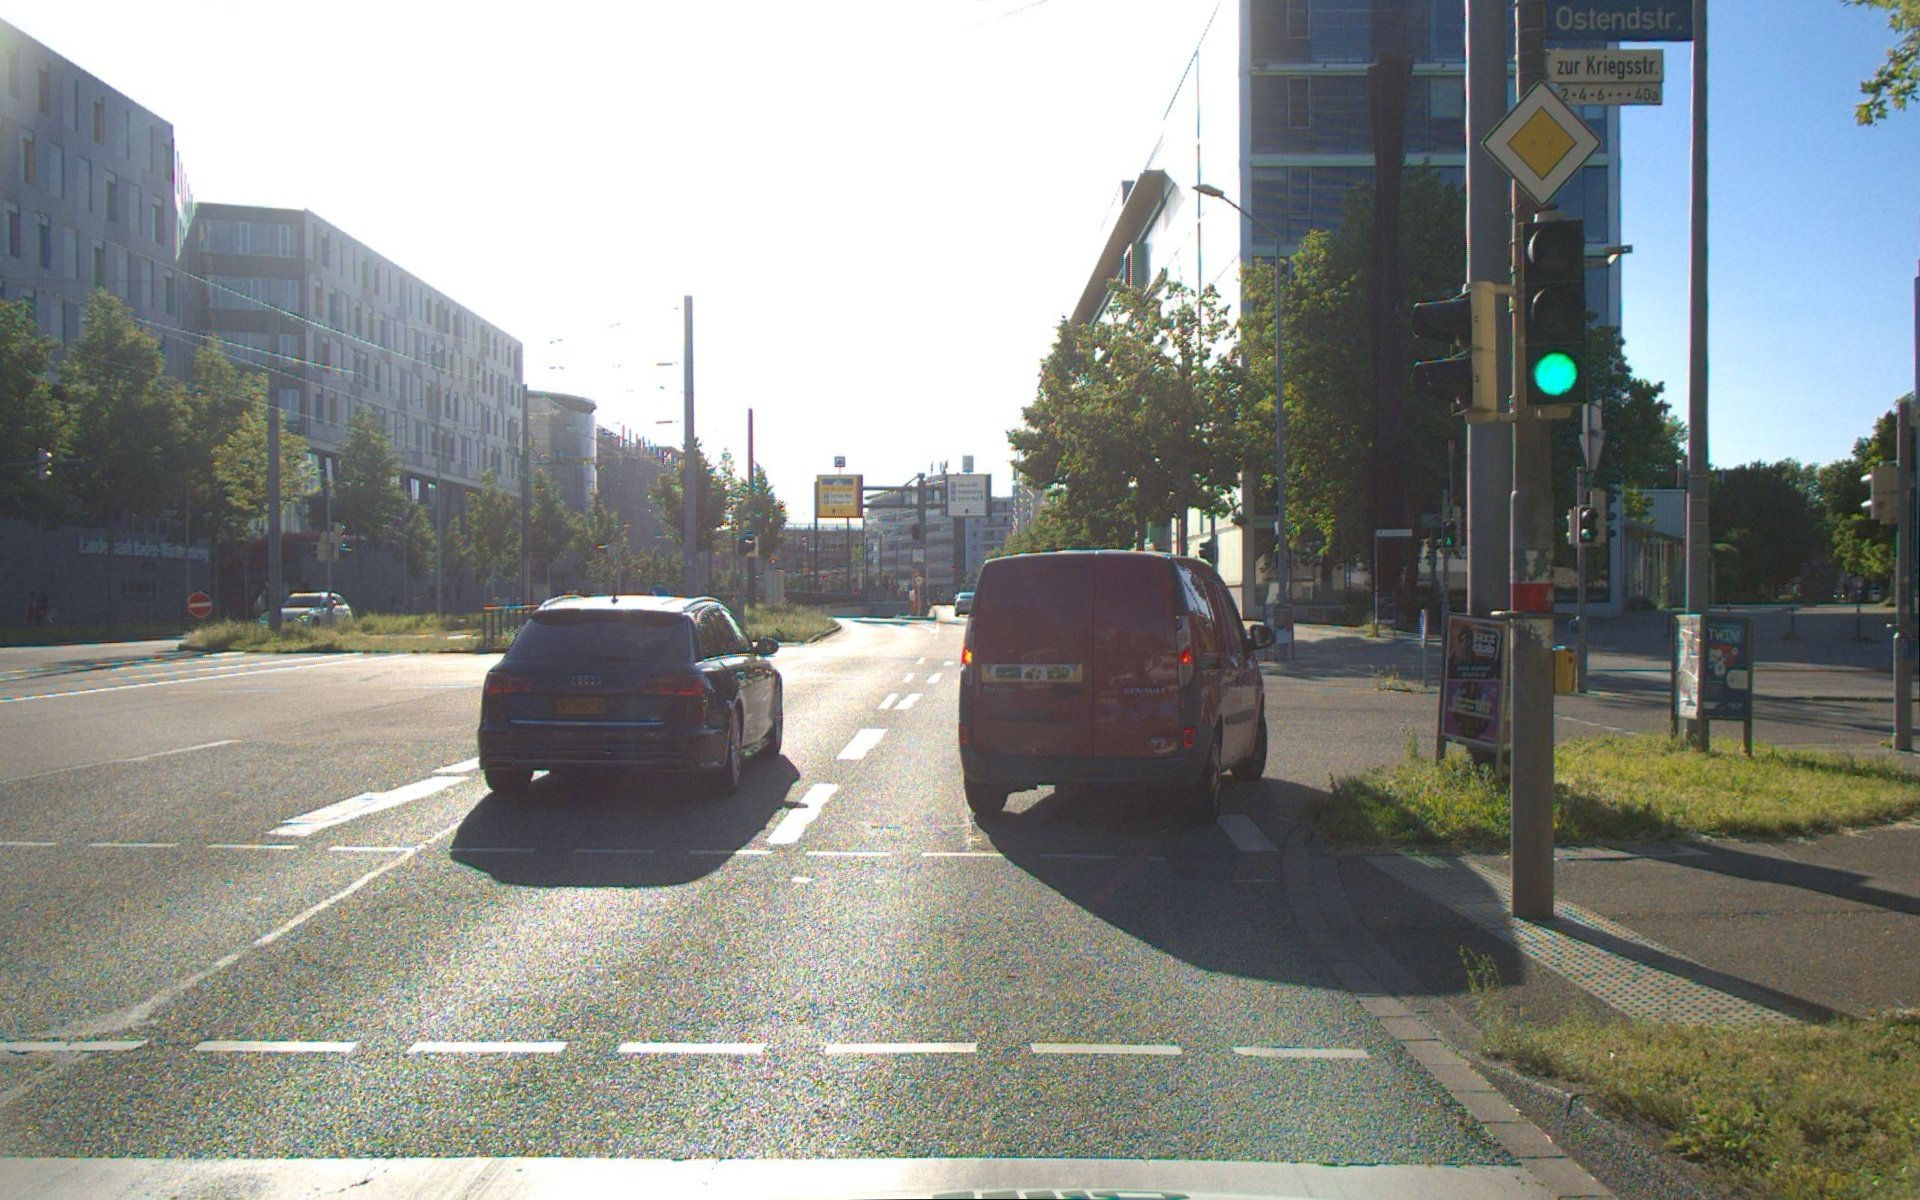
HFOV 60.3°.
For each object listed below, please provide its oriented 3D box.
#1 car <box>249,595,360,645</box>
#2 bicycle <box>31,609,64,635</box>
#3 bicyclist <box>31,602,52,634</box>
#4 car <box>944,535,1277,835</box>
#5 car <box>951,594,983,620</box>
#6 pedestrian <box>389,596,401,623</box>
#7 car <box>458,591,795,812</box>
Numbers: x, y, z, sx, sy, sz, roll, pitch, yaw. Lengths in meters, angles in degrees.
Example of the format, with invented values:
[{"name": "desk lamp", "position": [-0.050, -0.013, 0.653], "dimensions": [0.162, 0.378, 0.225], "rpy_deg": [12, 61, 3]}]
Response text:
[{"name": "car", "position": [-21.998, 0.635, 55.729], "dimensions": [1.953, 1.589, 4.870], "rpy_deg": [0, 0, -2]}, {"name": "bicycle", "position": [-43.134, 1.018, 78.210], "dimensions": [0.509, 1.193, 1.975], "rpy_deg": [0, 0, -1]}, {"name": "bicyclist", "position": [-43.425, 0.854, 78.209], "dimensions": [0.547, 1.522, 0.763], "rpy_deg": [0, 0, -1]}, {"name": "car", "position": [1.315, 0.531, 12.525], "dimensions": [1.809, 1.846, 4.117], "rpy_deg": [1, 0, 15]}, {"name": "car", "position": [0.445, 0.406, 102.817], "dimensions": [1.953, 1.491, 4.000], "rpy_deg": [1, 1, 0]}, {"name": "pedestrian", "position": [-44.506, 0.751, 130.221], "dimensions": [0.721, 2.049, 0.689], "rpy_deg": [0, 0, 0]}, {"name": "car", "position": [-2.481, 0.681, 13.490], "dimensions": [1.775, 1.452, 4.689], "rpy_deg": [1, 0, 0]}]
